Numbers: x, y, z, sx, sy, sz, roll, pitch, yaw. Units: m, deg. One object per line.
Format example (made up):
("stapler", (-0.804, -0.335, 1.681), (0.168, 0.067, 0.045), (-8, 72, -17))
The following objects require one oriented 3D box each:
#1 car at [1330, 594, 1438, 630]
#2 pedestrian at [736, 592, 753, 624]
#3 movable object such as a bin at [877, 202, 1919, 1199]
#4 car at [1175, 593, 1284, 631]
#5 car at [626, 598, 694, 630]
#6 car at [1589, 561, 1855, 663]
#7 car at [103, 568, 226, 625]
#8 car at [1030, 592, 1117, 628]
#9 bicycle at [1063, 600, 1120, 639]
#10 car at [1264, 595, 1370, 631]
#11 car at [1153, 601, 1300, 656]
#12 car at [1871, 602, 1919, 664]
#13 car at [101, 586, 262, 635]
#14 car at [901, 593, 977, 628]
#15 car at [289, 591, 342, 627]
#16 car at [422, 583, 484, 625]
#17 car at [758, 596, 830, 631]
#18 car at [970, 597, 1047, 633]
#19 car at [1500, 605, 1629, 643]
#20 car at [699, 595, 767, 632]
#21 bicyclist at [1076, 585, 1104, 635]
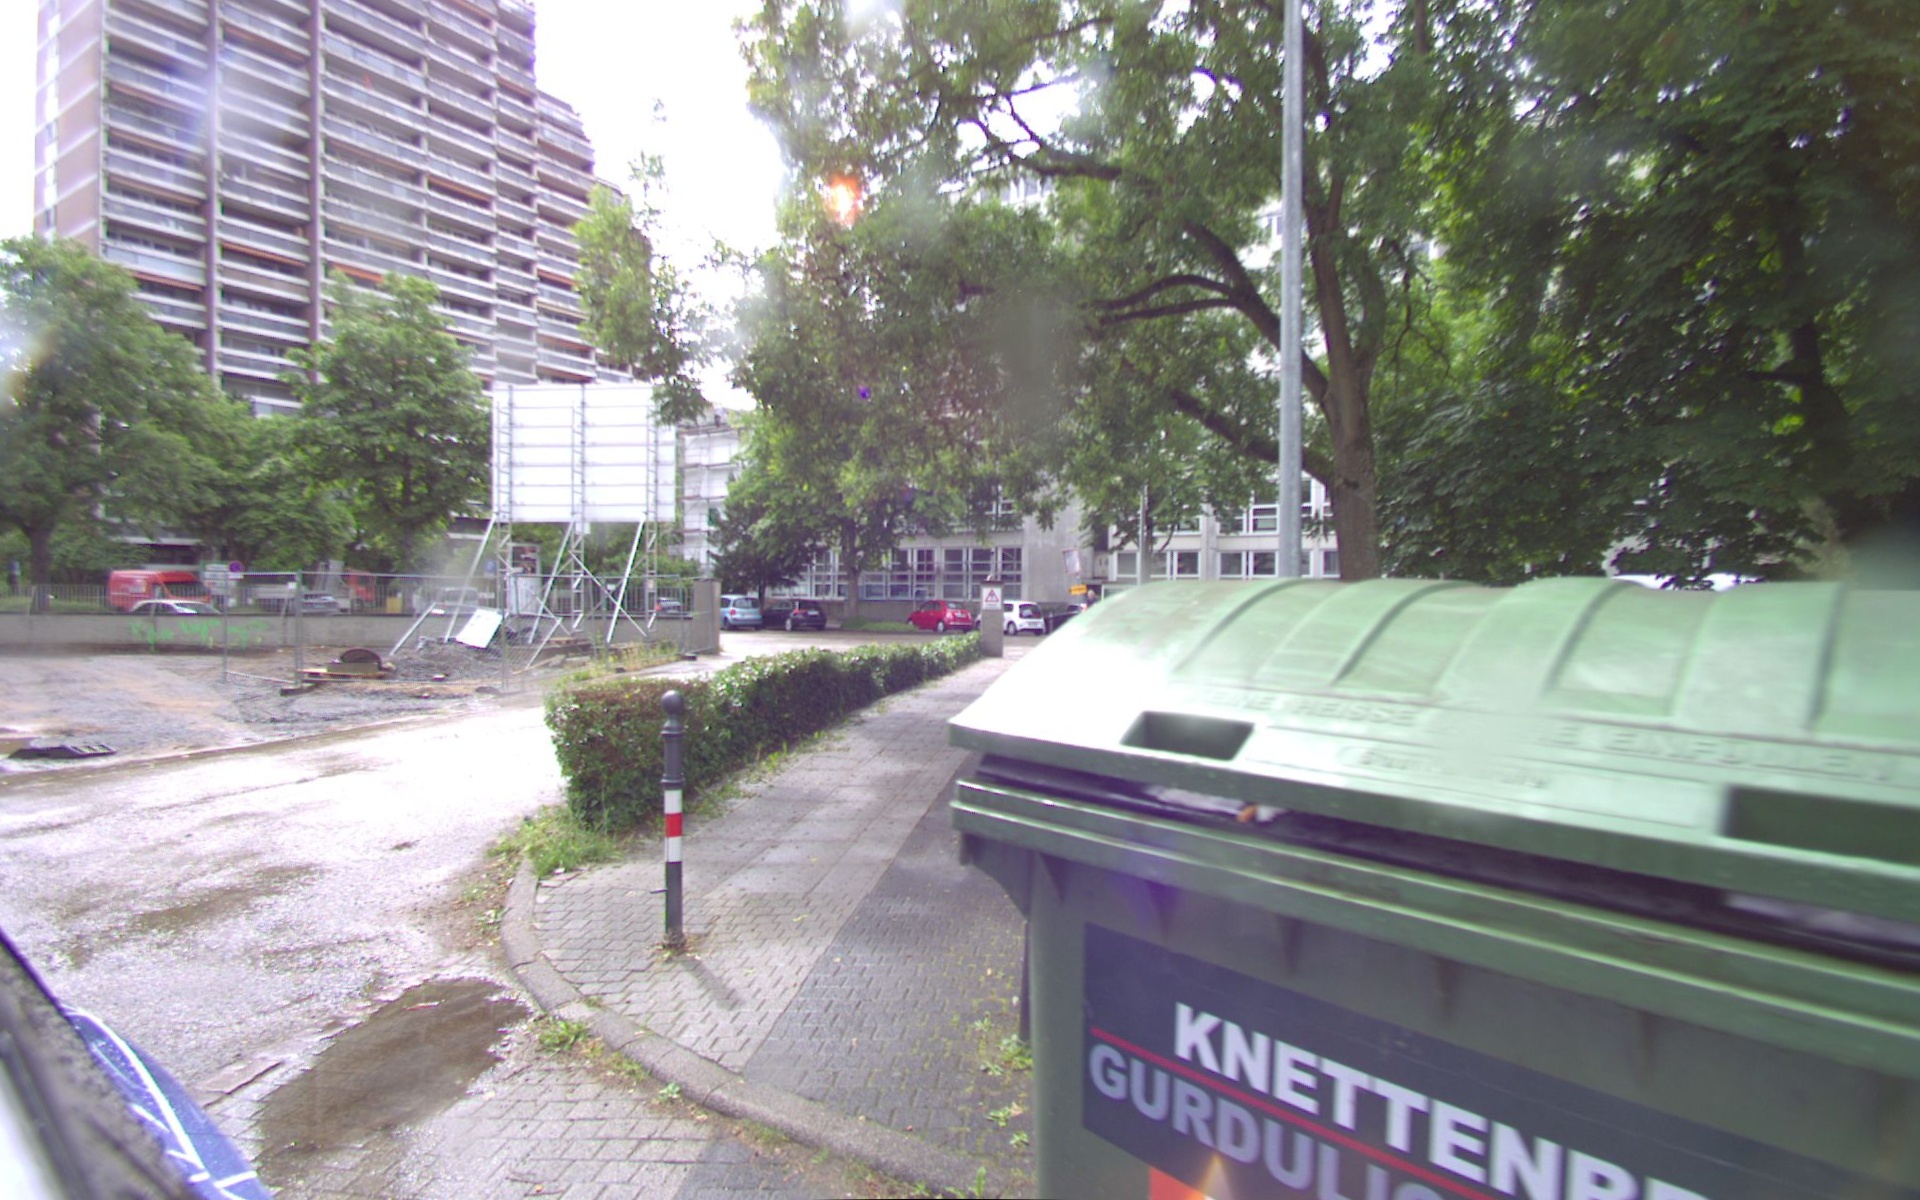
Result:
("car", (18.116, 0.549, 43.384), (1.749, 1.465, 3.889), (1, -2, -38))
("pedestrian", (-12.126, 0.464, 56.878), (0.695, 1.756, 0.841), (0, -2, -34))
("movable object such as a bin", (0.802, 0.488, 1.169), (1.486, 1.484, 1.088), (1, 2, 45))
("car", (11.695, 0.573, 44.122), (1.848, 1.567, 4.379), (2, -2, -39))
("car", (-14.002, 0.618, 47.108), (1.741, 1.407, 3.656), (0, 1, -39))
("car", (19.987, 0.314, 26.801), (5.210, 2.529, 2.136), (1, -1, 7))
("car", (-38.869, -0.189, 49.454), (5.444, 2.653, 2.286), (1, 0, 21))
("car", (4.999, 0.439, 44.900), (1.785, 1.492, 3.990), (0, -1, -31))
("bicycle", (4.386, 0.642, 33.799), (1.836, 1.276, 0.647), (0, -1, -26))
("car", (15.142, 0.565, 43.037), (1.793, 1.465, 3.889), (1, -2, -38))
("car", (7.456, 0.796, 28.617), (3.787, 1.471, 1.687), (0, -1, 7))
("car", (25.981, 0.868, 25.981), (3.332, 1.562, 1.909), (1, -1, 9))
("car", (-25.013, 0.350, 32.588), (3.953, 1.482, 1.886), (-1, -1, 8))
("car", (-0.958, 0.464, 45.589), (1.713, 1.480, 3.415), (2, 0, -38))
("car", (-31.553, 0.414, 49.519), (1.757, 1.577, 4.055), (0, 2, -39))
("car", (-24.213, 0.179, 48.244), (1.906, 1.911, 4.656), (1, 0, -36))
("car", (-7.522, 0.570, 45.700), (1.714, 1.480, 3.658), (0, 1, -38))
("car", (2.117, 0.637, 44.711), (1.682, 1.463, 3.417), (0, 1, -35))
("car", (25.075, 0.992, 42.114), (1.784, 1.464, 4.216), (0, -1, -37))
("car", (-10.380, 0.590, 46.126), (1.680, 1.563, 3.658), (0, 1, -37))
("bicyclist", (4.335, 0.339, 33.785), (0.662, 1.630, 0.647), (0, -1, -26))
